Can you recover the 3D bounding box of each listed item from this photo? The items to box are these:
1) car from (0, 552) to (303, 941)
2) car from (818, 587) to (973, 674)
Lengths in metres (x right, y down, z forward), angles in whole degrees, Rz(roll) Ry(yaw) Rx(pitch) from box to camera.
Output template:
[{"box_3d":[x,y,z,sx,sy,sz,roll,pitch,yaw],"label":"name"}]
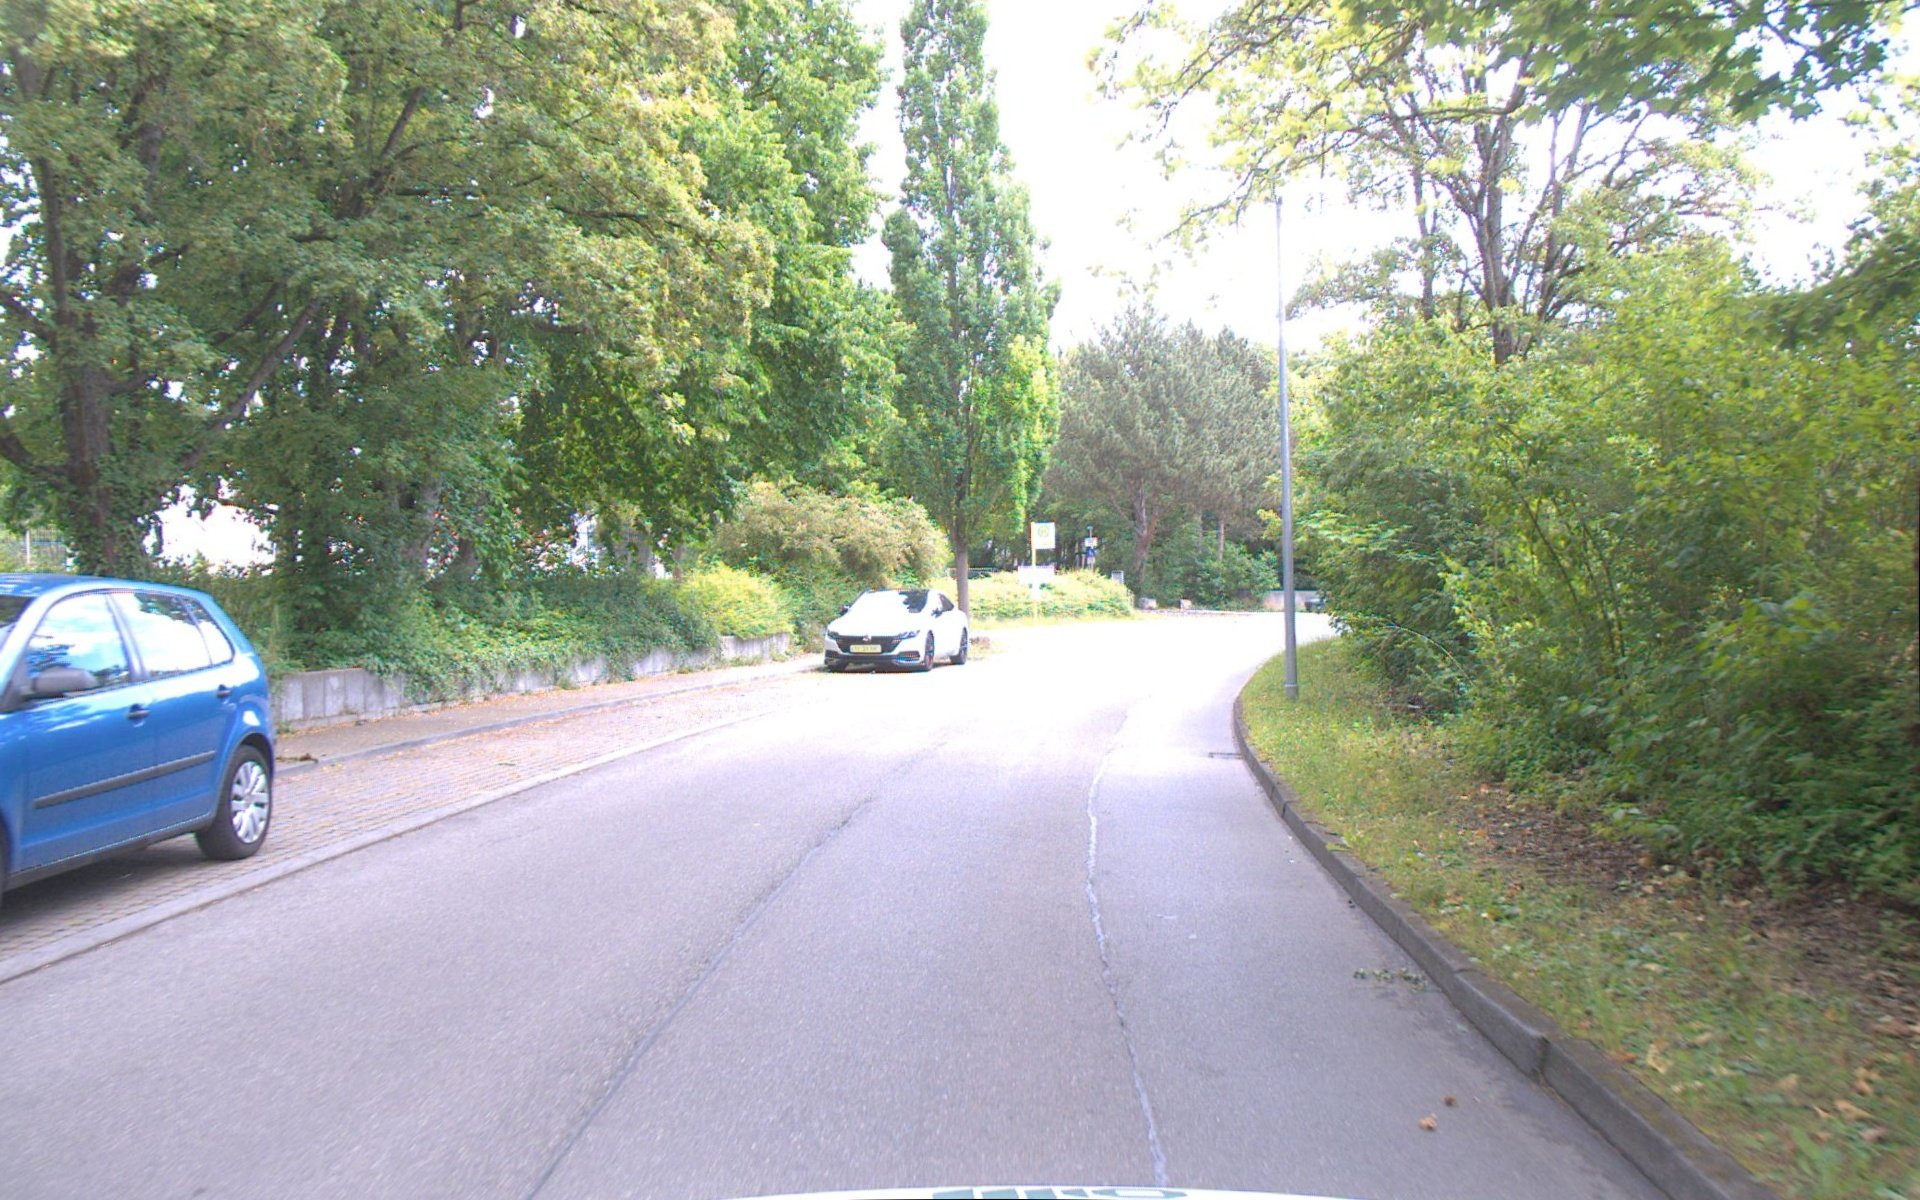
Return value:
[{"box_3d":[-4.407,0.562,7.253,1.502,1.484,3.720,-1,0,1],"label":"car"},{"box_3d":[-1.069,0.497,29.872,1.775,1.449,4.364,0,0,12],"label":"car"}]
